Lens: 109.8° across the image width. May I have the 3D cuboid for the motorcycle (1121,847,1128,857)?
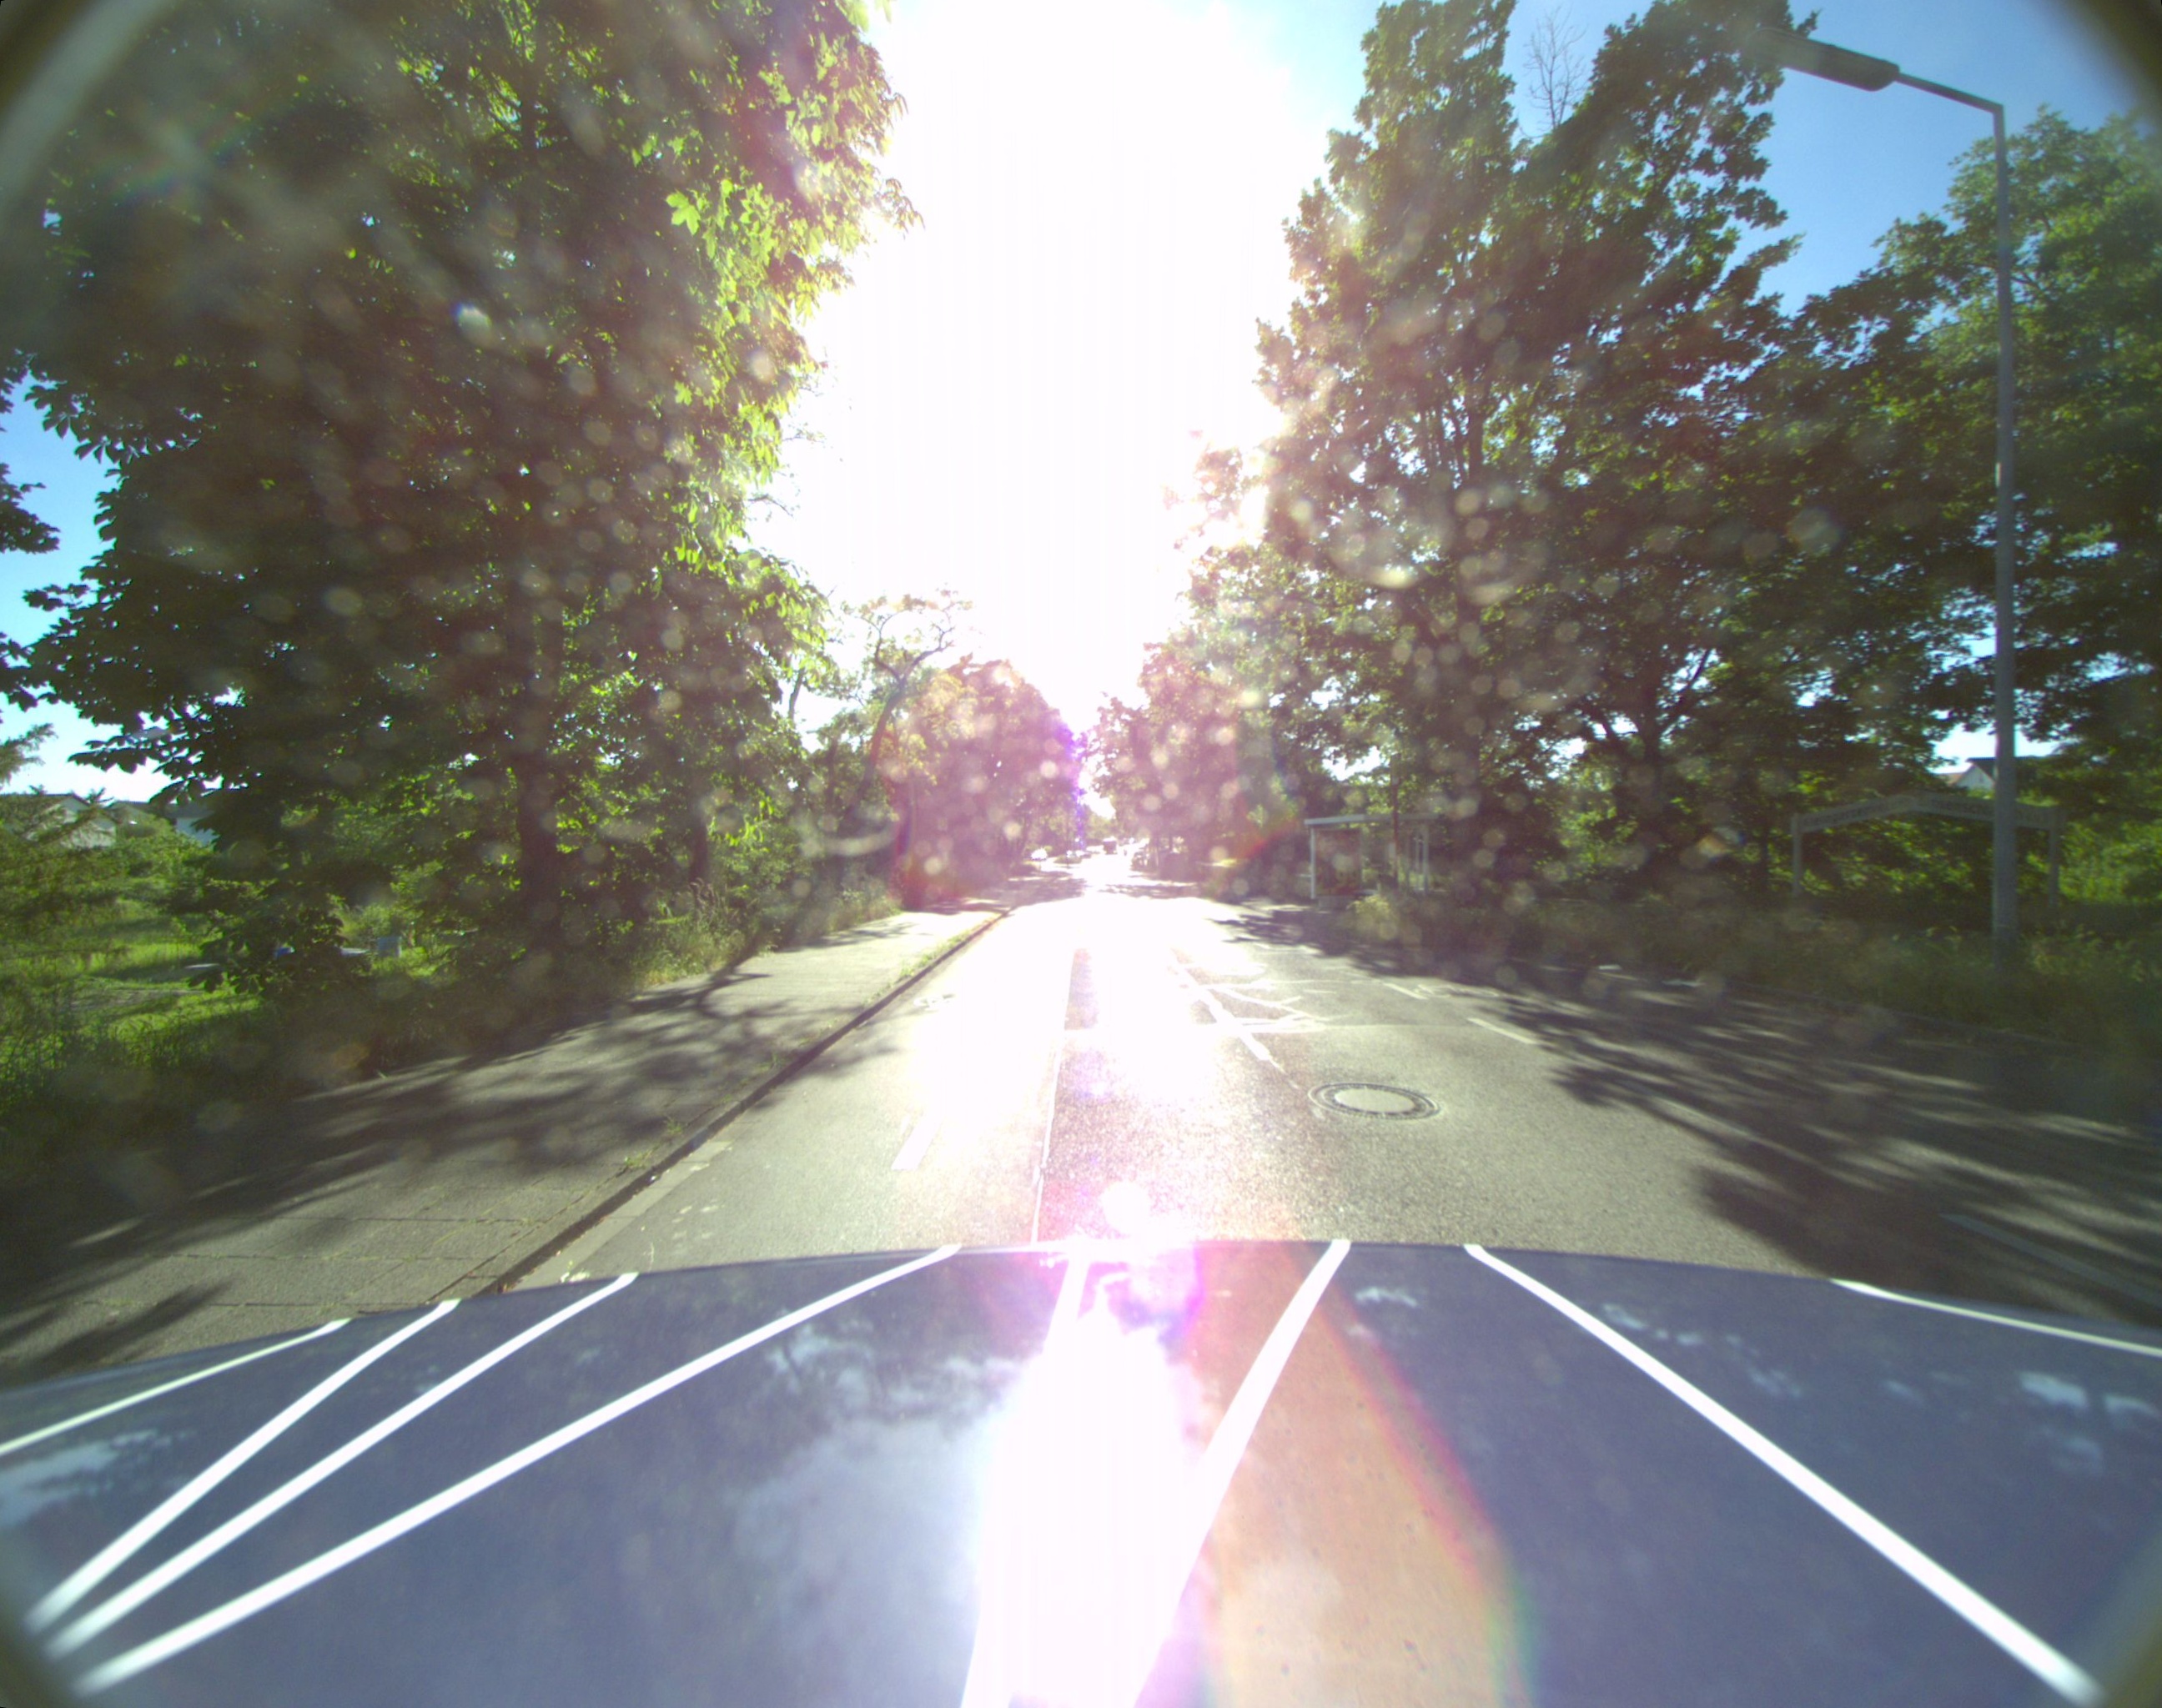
[{"bbox_3d":[7.296,-0.346,127.085,0.815,1.624,2.411,-3,1,-2],"label":"motorcycle"}]

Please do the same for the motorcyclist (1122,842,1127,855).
[{"bbox_3d":[7.240,-0.923,127.100,0.640,2.002,0.739,-3,1,-2],"label":"motorcyclist"}]

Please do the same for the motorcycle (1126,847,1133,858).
[{"bbox_3d":[7.532,-0.241,118.646,0.815,1.668,2.411,-3,1,-2],"label":"motorcycle"}]

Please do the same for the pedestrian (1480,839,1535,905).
[{"bbox_3d":[11.245,0.464,20.067,0.915,1.678,0.891,-2,0,2],"label":"pedestrian"}]

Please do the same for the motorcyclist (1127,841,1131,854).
[{"bbox_3d":[7.501,-0.973,118.660,0.537,2.002,0.826,-3,1,-2],"label":"motorcyclist"}]

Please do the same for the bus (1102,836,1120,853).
[{"bbox_3d":[5.937,-1.802,151.440,2.790,2.965,12.893,-2,0,-1],"label":"bus"}]
